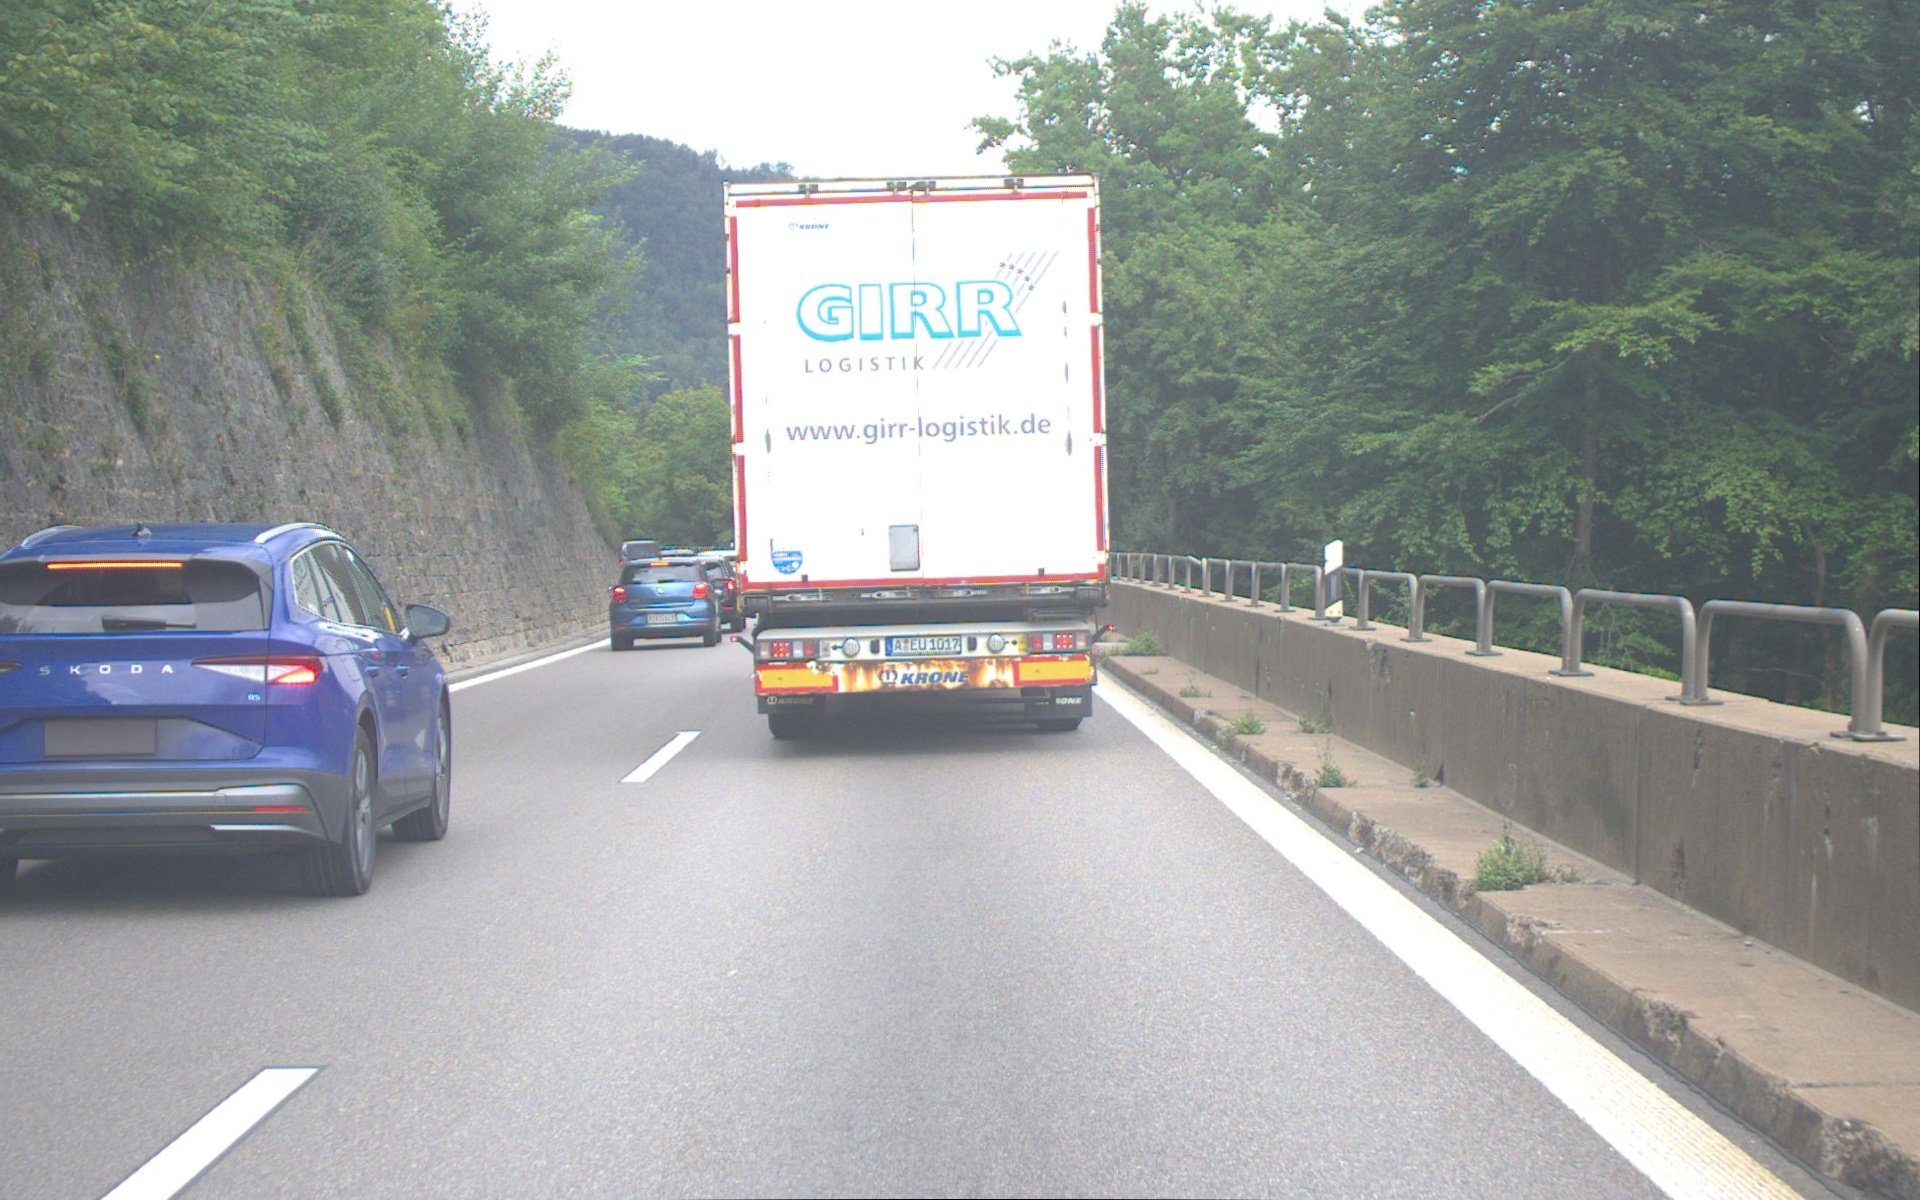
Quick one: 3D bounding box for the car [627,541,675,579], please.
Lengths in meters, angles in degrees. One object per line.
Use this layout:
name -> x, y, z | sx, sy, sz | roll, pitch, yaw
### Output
car -> -14.124, -1.820, 156.886 | 1.745, 1.581, 4.001 | 3, 0, -10

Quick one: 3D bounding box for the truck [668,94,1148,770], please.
truck -> -0.503, -1.309, 30.706 | 3.084, 4.448, 15.157 | -2, 1, -1

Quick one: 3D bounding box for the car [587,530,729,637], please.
car -> -4.812, -0.293, 55.279 | 1.993, 1.590, 4.354 | 2, 1, -2

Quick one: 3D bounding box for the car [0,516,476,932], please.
car -> -3.536, 0.450, 16.031 | 1.993, 1.626, 5.009 | 0, 1, -2

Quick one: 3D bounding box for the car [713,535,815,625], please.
car -> -3.669, -0.400, 64.930 | 1.745, 1.581, 4.000 | 2, 1, -2

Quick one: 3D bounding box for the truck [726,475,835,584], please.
truck -> -6.900, -2.678, 130.469 | 2.633, 3.844, 12.363 | 2, 1, -9
